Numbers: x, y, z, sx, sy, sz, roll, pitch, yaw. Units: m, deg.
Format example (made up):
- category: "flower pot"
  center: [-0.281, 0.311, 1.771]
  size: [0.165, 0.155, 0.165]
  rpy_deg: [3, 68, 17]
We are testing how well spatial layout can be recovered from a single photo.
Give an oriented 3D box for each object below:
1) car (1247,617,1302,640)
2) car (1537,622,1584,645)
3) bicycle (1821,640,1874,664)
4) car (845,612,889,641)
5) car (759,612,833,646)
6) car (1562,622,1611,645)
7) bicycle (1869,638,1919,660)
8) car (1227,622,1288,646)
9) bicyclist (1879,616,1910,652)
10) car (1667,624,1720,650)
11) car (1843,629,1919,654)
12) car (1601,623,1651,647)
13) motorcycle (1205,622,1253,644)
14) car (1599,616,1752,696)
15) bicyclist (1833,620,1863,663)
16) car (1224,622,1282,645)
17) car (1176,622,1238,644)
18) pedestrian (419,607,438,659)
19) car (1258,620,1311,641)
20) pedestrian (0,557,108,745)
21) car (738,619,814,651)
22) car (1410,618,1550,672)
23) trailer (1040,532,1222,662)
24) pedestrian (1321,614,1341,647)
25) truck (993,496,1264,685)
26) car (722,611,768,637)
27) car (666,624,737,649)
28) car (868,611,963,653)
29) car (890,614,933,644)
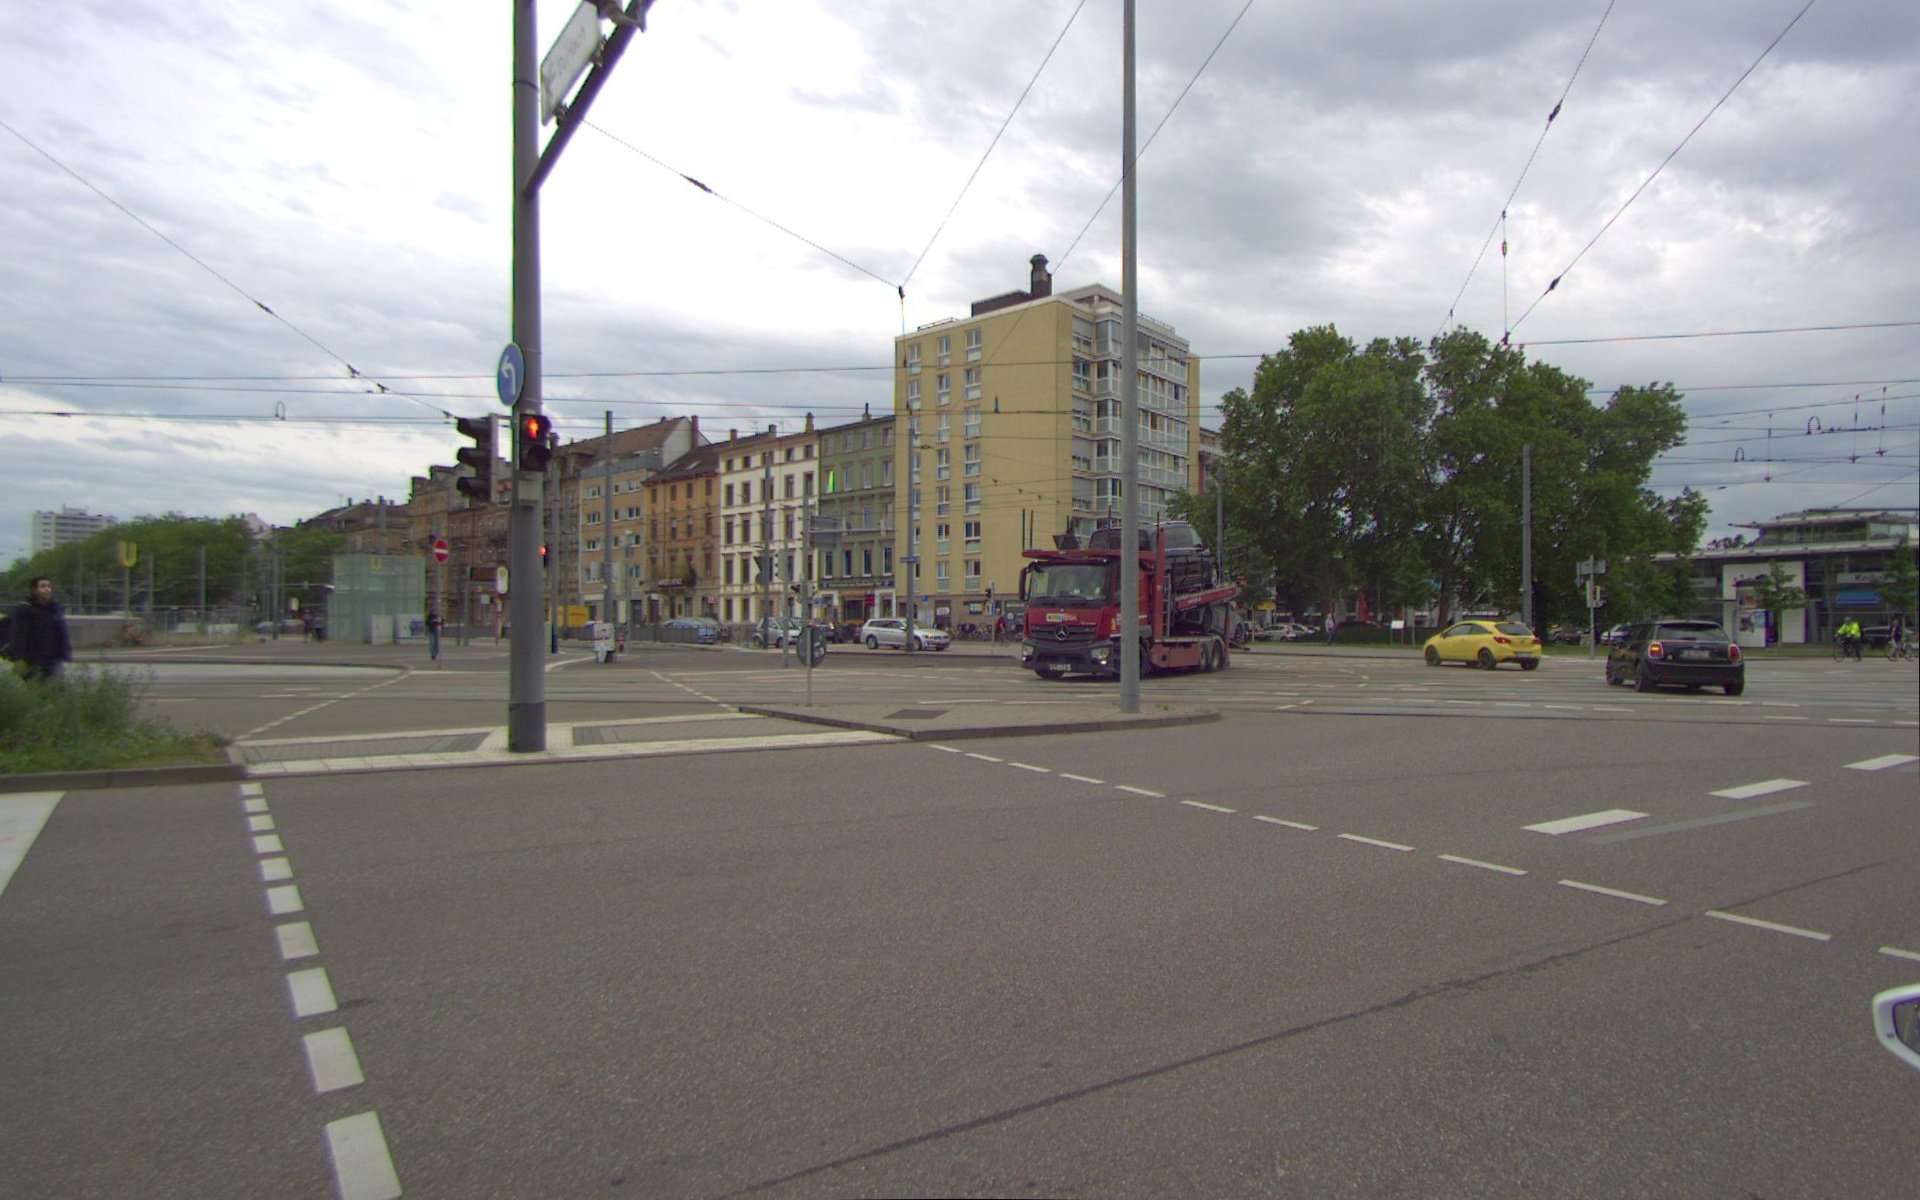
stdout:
- category: "car"
  center: [25.978, 2.335, 83.032]
  size: [3.936, 1.728, 1.992]
  rpy_deg: [1, 0, 37]
- category: "car"
  center: [54.895, 3.085, 91.802]
  size: [3.950, 2.040, 1.985]
  rpy_deg: [1, 0, -28]
- category: "bicycle"
  center: [37.703, 2.204, 42.678]
  size: [2.184, 0.942, 0.519]
  rpy_deg: [0, -1, -13]
- category: "car"
  center: [-6.009, 1.682, 65.425]
  size: [2.039, 1.779, 4.002]
  rpy_deg: [1, 0, 7]
- category: "car"
  center: [-9.258, 1.591, 56.489]
  size: [3.938, 1.751, 1.991]
  rpy_deg: [1, 0, 39]
- category: "car"
  center: [55.911, 2.985, 89.596]
  size: [3.950, 2.040, 1.985]
  rpy_deg: [1, 0, -28]
- category: "bicycle"
  center: [40.360, 2.107, 43.346]
  size: [2.184, 0.938, 0.519]
  rpy_deg: [0, -1, -13]
- category: "car"
  center: [22.482, 2.550, 75.905]
  size: [3.936, 1.728, 1.992]
  rpy_deg: [1, 0, 37]
- category: "bicyclist"
  center: [40.341, 1.461, 43.364]
  size: [0.842, 1.528, 0.566]
  rpy_deg: [-1, -1, -12]
- category: "car"
  center: [60.058, 2.992, 82.243]
  size: [3.950, 2.040, 1.985]
  rpy_deg: [1, 0, -28]
- category: "car"
  center: [54.364, 2.420, 59.222]
  size: [3.674, 1.439, 1.636]
  rpy_deg: [1, -1, -14]
- category: "car"
  center: [57.678, 3.042, 87.033]
  size: [3.950, 2.040, 1.985]
  rpy_deg: [1, 0, -28]
- category: "motorcycle"
  center: [15.343, 1.860, 57.400]
  size: [2.510, 1.194, 0.860]
  rpy_deg: [1, 0, 42]
- category: "car"
  center: [14.662, 1.088, 20.811]
  size: [1.741, 1.488, 3.998]
  rpy_deg: [0, -1, 23]
- category: "bicyclist"
  center: [37.696, 1.751, 42.641]
  size: [0.783, 1.827, 0.628]
  rpy_deg: [0, -1, -12]
- category: "car"
  center: [23.211, 2.624, 79.628]
  size: [3.936, 1.728, 1.992]
  rpy_deg: [1, 0, 37]
- category: "car"
  center: [18.129, 2.400, 73.800]
  size: [3.937, 1.572, 1.992]
  rpy_deg: [-1, -2, 38]
- category: "pedestrian"
  center: [-16.600, 1.029, 31.381]
  size: [0.475, 1.632, 0.422]
  rpy_deg: [1, -1, -34]
- category: "car"
  center: [28.211, 2.650, 87.323]
  size: [3.936, 1.728, 1.992]
  rpy_deg: [1, 0, 37]
- category: "pedestrian"
  center: [-10.140, 0.539, 10.983]
  size: [0.962, 1.969, 0.781]
  rpy_deg: [0, -1, 6]
- category: "car"
  center: [-9.400, 1.761, 51.258]
  size: [3.564, 1.513, 1.992]
  rpy_deg: [0, -1, 38]
- category: "car"
  center: [16.234, 1.364, 31.600]
  size: [1.791, 1.514, 3.991]
  rpy_deg: [1, 0, -11]
- category: "trailer"
  center: [5.756, -0.058, 36.124]
  size: [2.945, 4.026, 9.528]
  rpy_deg: [1, 0, -13]
- category: "pedestrian"
  center: [19.817, 1.621, 53.645]
  size: [0.899, 1.742, 0.706]
  rpy_deg: [1, 0, 29]
- category: "truck"
  center: [4.877, -0.127, 26.291]
  size: [2.964, 3.972, 10.427]
  rpy_deg: [1, 0, 34]
- category: "car"
  center: [-15.633, 1.742, 73.236]
  size: [2.039, 1.779, 4.002]
  rpy_deg: [1, 0, 7]
- category: "car"
  center: [-14.655, 2.055, 56.864]
  size: [3.939, 1.327, 1.991]
  rpy_deg: [-1, -1, 39]
- category: "car"
  center: [-2.043, 1.437, 45.576]
  size: [3.938, 1.751, 1.991]
  rpy_deg: [1, 0, 39]
- category: "car"
  center: [-3.078, 1.822, 64.528]
  size: [2.039, 1.779, 4.002]
  rpy_deg: [1, 0, 7]
